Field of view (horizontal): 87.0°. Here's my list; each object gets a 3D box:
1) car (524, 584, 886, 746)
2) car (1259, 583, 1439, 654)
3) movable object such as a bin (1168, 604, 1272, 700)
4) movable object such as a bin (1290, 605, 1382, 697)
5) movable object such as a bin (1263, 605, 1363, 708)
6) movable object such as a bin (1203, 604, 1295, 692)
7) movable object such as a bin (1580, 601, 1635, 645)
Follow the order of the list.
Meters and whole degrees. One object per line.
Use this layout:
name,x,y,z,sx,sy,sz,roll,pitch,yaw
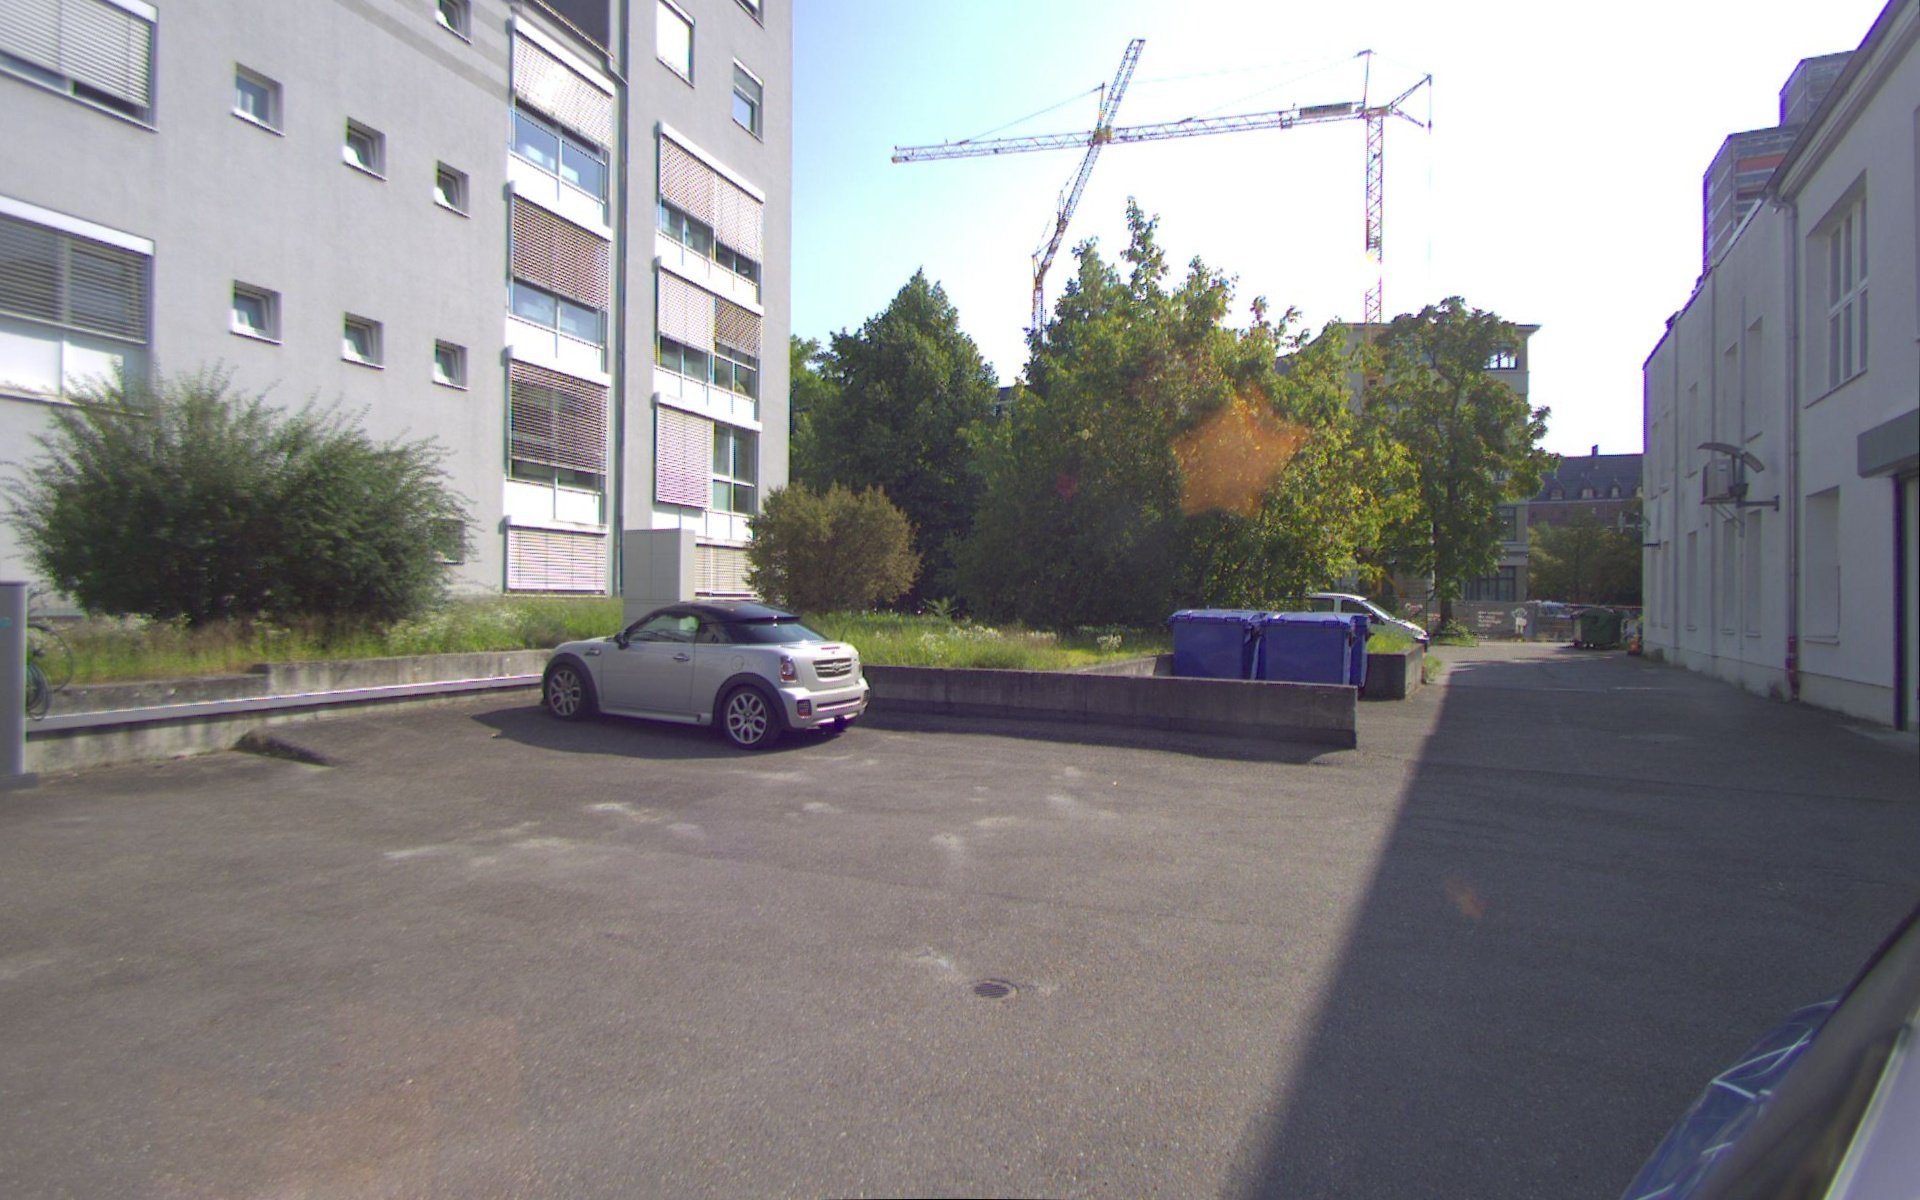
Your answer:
car,-2.734,0.594,10.845,3.545,1.456,1.644,1,0,26
car,11.512,0.505,30.055,4.754,1.956,1.888,1,0,31
movable object such as a bin,3.891,0.737,15.092,1.247,1.344,1.262,0,-1,29
movable object such as a bin,5.862,0.756,15.751,1.190,1.344,1.262,0,-1,29
movable object such as a bin,5.038,0.756,14.393,1.202,1.368,1.263,0,-1,27
movable object such as a bin,4.695,0.739,16.406,1.190,1.344,1.262,0,-1,29
movable object such as a bin,22.251,0.775,34.808,1.512,1.484,1.262,0,-1,29
